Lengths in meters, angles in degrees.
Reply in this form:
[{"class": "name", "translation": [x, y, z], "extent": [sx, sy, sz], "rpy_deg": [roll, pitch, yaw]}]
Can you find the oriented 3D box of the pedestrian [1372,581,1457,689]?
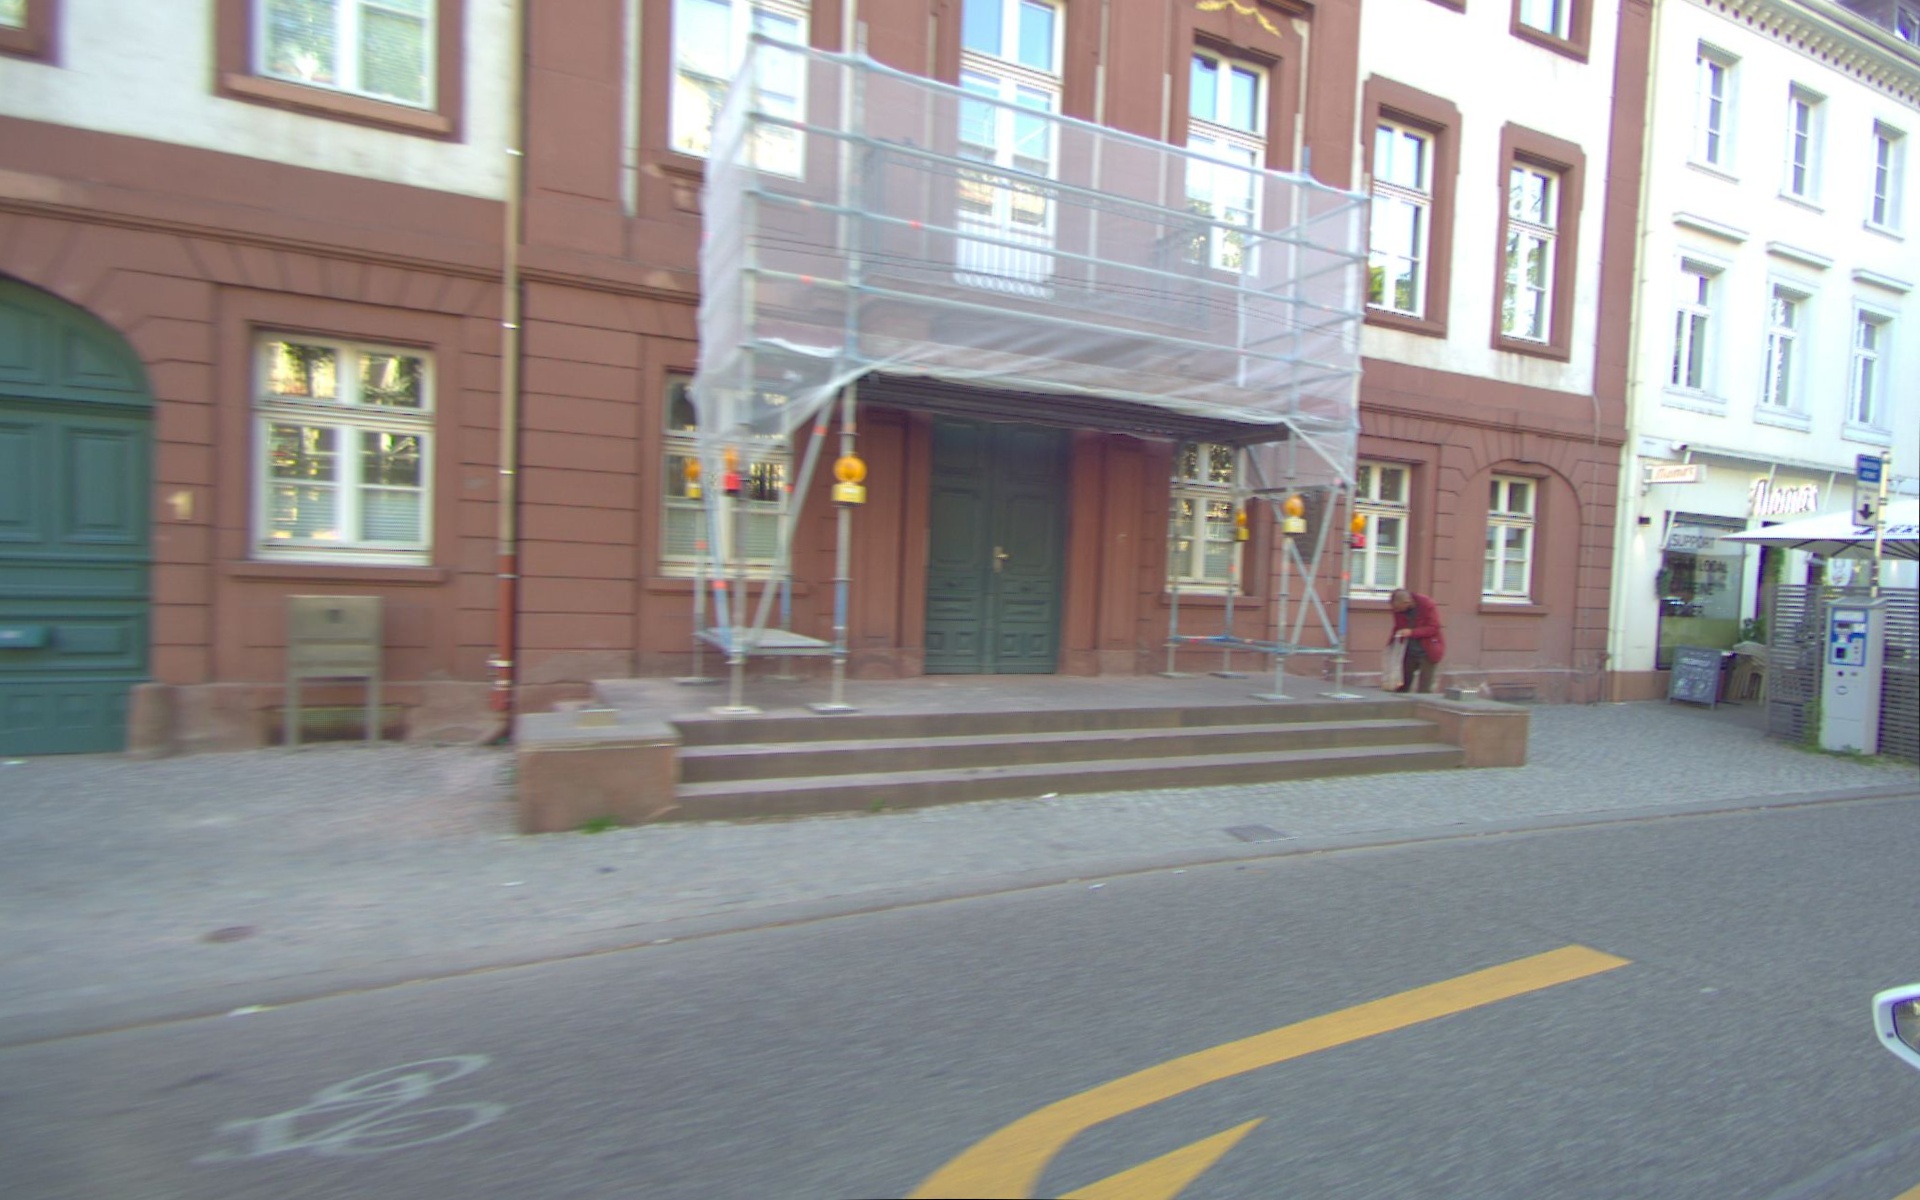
[{"class": "pedestrian", "translation": [4.715, 0.356, 10.434], "extent": [0.544, 1.067, 0.534], "rpy_deg": [1, 3, -28]}]
